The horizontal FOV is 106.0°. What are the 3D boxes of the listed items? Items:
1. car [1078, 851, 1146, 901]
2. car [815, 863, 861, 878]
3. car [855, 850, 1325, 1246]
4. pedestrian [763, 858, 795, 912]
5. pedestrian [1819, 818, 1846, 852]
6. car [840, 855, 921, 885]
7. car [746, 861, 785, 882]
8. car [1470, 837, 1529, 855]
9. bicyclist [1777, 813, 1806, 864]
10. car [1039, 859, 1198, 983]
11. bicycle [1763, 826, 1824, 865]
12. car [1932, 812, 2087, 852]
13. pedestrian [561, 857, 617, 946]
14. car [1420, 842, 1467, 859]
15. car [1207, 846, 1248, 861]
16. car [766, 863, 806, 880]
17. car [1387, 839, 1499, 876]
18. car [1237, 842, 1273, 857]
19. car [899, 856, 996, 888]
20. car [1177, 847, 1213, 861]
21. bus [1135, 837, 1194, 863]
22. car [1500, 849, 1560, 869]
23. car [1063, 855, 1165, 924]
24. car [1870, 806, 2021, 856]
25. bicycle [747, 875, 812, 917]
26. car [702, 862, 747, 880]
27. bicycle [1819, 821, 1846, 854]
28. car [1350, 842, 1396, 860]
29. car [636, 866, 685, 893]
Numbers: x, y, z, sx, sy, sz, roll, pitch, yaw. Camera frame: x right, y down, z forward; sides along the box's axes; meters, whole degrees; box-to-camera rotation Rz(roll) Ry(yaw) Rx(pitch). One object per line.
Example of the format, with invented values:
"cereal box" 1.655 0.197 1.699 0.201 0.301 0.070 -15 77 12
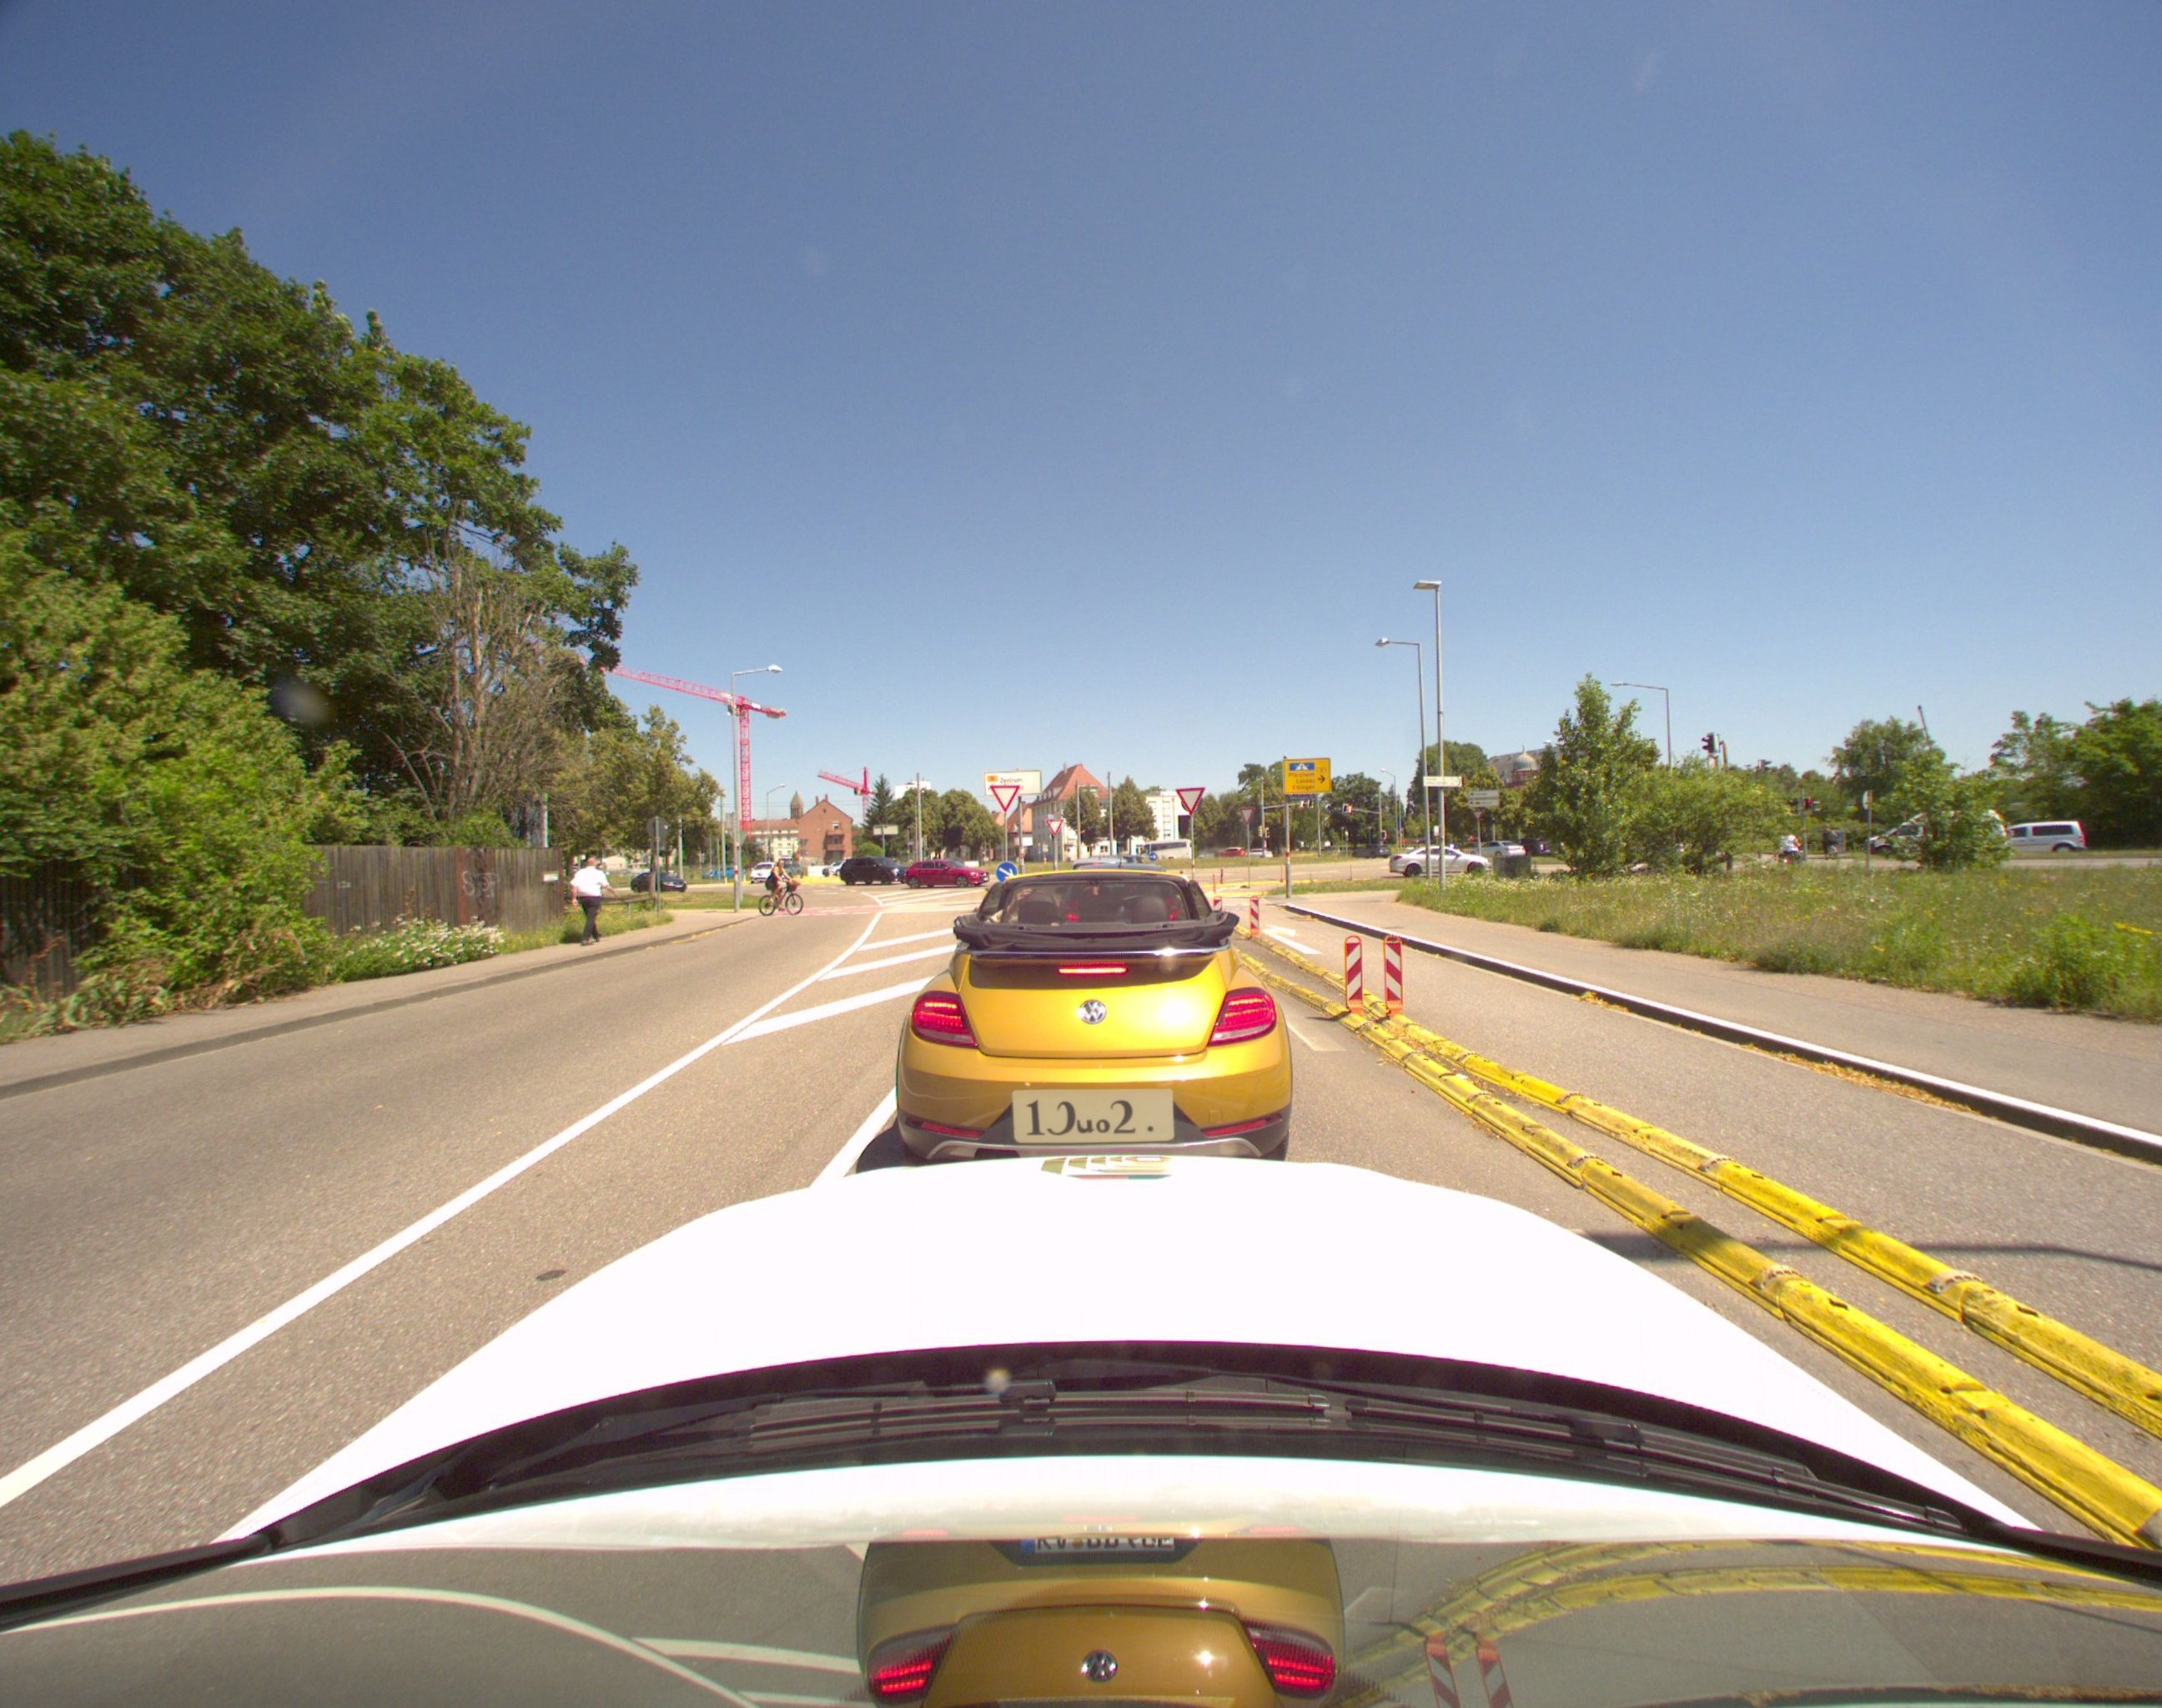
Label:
"car" 1.042 0.673 27.682 2.057 1.481 4.545 -2 0 2
"car" -23.633 1.553 79.303 1.711 1.402 4.297 -1 -1 29
"car" 0.096 0.748 5.199 1.758 1.481 4.259 0 0 2
"pedestrian" -9.565 0.987 25.807 0.728 1.691 0.577 -1 -1 11
"pedestrian" 37.900 -0.949 41.064 0.959 1.660 0.892 -1 -1 44
"car" -11.898 0.928 48.211 4.363 1.595 2.013 -1 3 29
"car" -24.767 1.336 63.959 1.773 1.527 3.866 -2 0 -5
"car" 33.282 -0.594 64.928 1.750 1.371 4.307 0 -1 -16
"bicyclist" 25.756 -0.557 29.528 0.573 1.841 0.603 0 -1 -29
"car" 0.510 0.809 11.797 1.844 1.366 4.260 -2 0 2
"bicycle" 25.896 -0.293 29.594 2.902 1.353 0.635 0 -1 -28
"car" 49.049 -1.113 43.229 5.262 1.962 2.006 -1 -1 45
"pedestrian" -10.180 0.959 16.887 0.635 1.786 0.967 0 -1 -5
"car" 37.637 -0.328 84.655 1.850 1.736 4.411 0 -1 -23
"car" 17.489 -0.081 97.298 4.387 1.736 1.860 -1 -1 35
"car" -25.212 1.488 69.715 1.740 1.371 4.332 0 0 1
"car" 16.339 0.154 36.990 4.371 1.527 2.009 -2 0 16
"car" 21.310 -0.558 99.615 3.950 1.772 1.797 -1 -1 26
"car" -6.736 0.900 41.267 4.370 1.527 2.009 -1 -1 17
"car" 15.113 0.021 107.885 4.396 1.736 1.856 -1 -1 16
"bus" 10.647 -0.522 103.742 7.196 3.172 2.271 -1 -1 17
"car" 37.685 0.398 68.460 1.880 1.614 4.305 0 -1 -17
"car" 0.742 0.746 18.724 2.057 1.382 4.259 0 0 2
"car" 44.775 -1.102 42.410 5.261 2.397 2.006 -1 -1 43
"bicycle" -9.559 1.318 25.812 1.830 1.231 0.615 -3 -1 12
"car" -36.565 1.733 83.702 3.995 1.772 1.866 0 -1 -16
"bicycle" 37.999 -0.821 41.173 0.972 1.597 2.900 -1 -1 43
"car" 29.568 -0.286 82.503 1.851 1.736 4.409 0 -1 -24
"car" -27.428 1.630 53.035 1.737 1.552 4.291 -3 1 -42
